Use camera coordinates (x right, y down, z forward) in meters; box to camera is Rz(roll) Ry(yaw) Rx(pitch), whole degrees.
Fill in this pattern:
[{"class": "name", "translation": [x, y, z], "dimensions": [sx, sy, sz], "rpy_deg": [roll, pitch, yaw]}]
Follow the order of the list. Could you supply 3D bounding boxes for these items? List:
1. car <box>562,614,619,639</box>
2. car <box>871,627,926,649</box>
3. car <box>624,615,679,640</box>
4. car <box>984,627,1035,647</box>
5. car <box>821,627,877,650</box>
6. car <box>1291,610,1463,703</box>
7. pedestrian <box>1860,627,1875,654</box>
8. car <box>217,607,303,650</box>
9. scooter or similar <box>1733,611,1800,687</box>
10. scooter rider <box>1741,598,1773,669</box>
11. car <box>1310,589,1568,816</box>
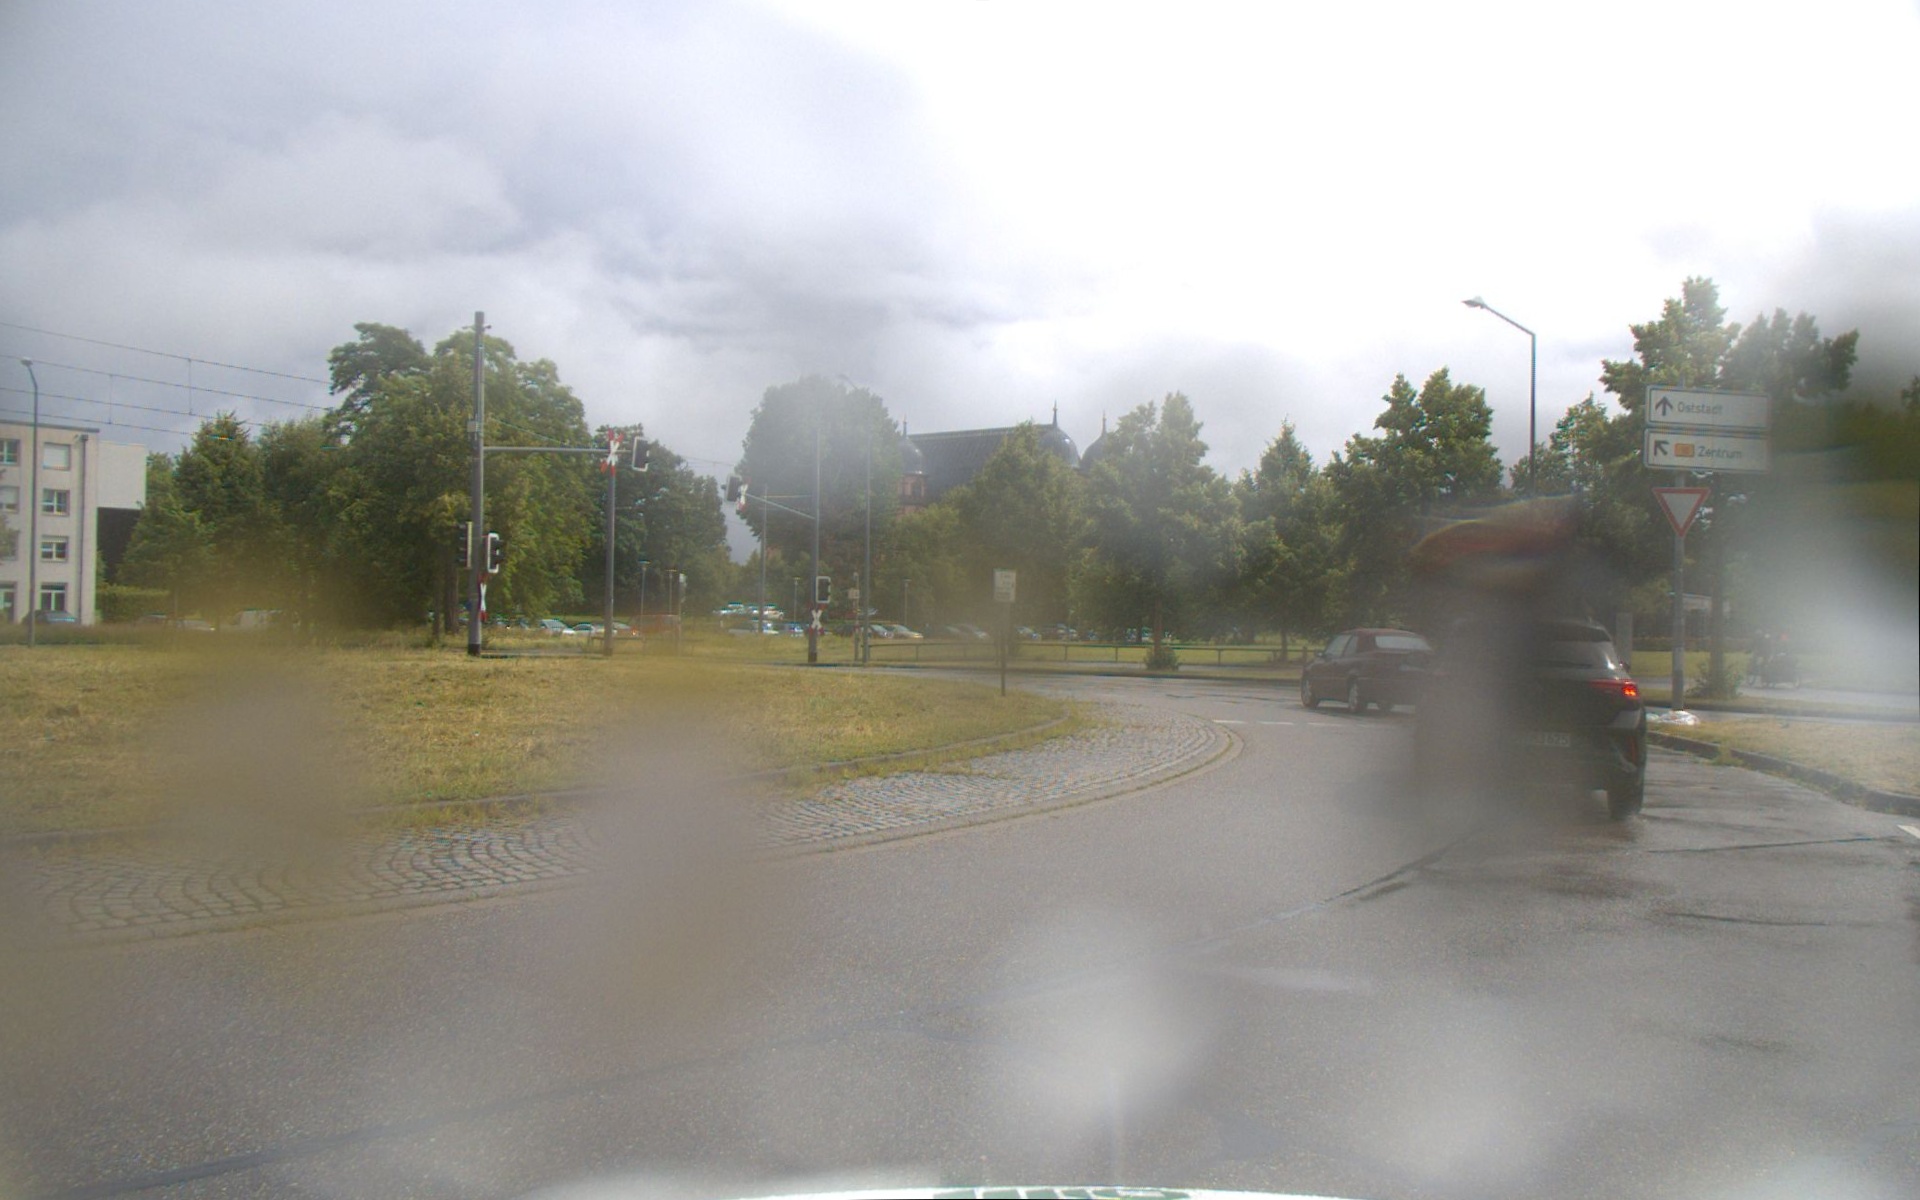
[{"class": "car", "translation": [-22.585, 1.636, 101.122], "dimensions": [3.544, 1.487, 1.636], "rpy_deg": [0, -1, 41]}, {"class": "car", "translation": [-4.669, 2.871, 124.971], "dimensions": [3.902, 1.587, 1.842], "rpy_deg": [-1, -2, 38]}, {"class": "car", "translation": [-19.637, 1.758, 105.213], "dimensions": [3.587, 1.537, 1.639], "rpy_deg": [0, -1, 43]}, {"class": "car", "translation": [4.037, 3.036, 136.340], "dimensions": [3.902, 1.587, 1.842], "rpy_deg": [-1, -2, 38]}, {"class": "car", "translation": [-8.121, 2.811, 120.720], "dimensions": [3.902, 1.587, 1.842], "rpy_deg": [-1, -2, 38]}, {"class": "car", "translation": [7.292, 0.947, 29.304], "dimensions": [1.681, 1.488, 3.995], "rpy_deg": [1, 0, -6]}, {"class": "pedestrian", "translation": [60.339, 2.676, 109.992], "dimensions": [0.596, 1.762, 0.594], "rpy_deg": [3, -3, -25]}, {"class": "car", "translation": [-35.991, 1.432, 84.994], "dimensions": [5.069, 2.093, 2.101], "rpy_deg": [1, 0, 42]}, {"class": "scooter or similar", "translation": [23.050, 1.433, 47.328], "dimensions": [1.210, 2.049, 3.410], "rpy_deg": [2, -2, 18]}, {"class": "scooter rider", "translation": [23.261, 0.986, 48.269], "dimensions": [0.689, 2.049, 0.771], "rpy_deg": [2, -2, 17]}, {"class": "car", "translation": [4.202, 0.802, 14.735], "dimensions": [1.857, 1.646, 4.003], "rpy_deg": [3, 0, 15]}]
